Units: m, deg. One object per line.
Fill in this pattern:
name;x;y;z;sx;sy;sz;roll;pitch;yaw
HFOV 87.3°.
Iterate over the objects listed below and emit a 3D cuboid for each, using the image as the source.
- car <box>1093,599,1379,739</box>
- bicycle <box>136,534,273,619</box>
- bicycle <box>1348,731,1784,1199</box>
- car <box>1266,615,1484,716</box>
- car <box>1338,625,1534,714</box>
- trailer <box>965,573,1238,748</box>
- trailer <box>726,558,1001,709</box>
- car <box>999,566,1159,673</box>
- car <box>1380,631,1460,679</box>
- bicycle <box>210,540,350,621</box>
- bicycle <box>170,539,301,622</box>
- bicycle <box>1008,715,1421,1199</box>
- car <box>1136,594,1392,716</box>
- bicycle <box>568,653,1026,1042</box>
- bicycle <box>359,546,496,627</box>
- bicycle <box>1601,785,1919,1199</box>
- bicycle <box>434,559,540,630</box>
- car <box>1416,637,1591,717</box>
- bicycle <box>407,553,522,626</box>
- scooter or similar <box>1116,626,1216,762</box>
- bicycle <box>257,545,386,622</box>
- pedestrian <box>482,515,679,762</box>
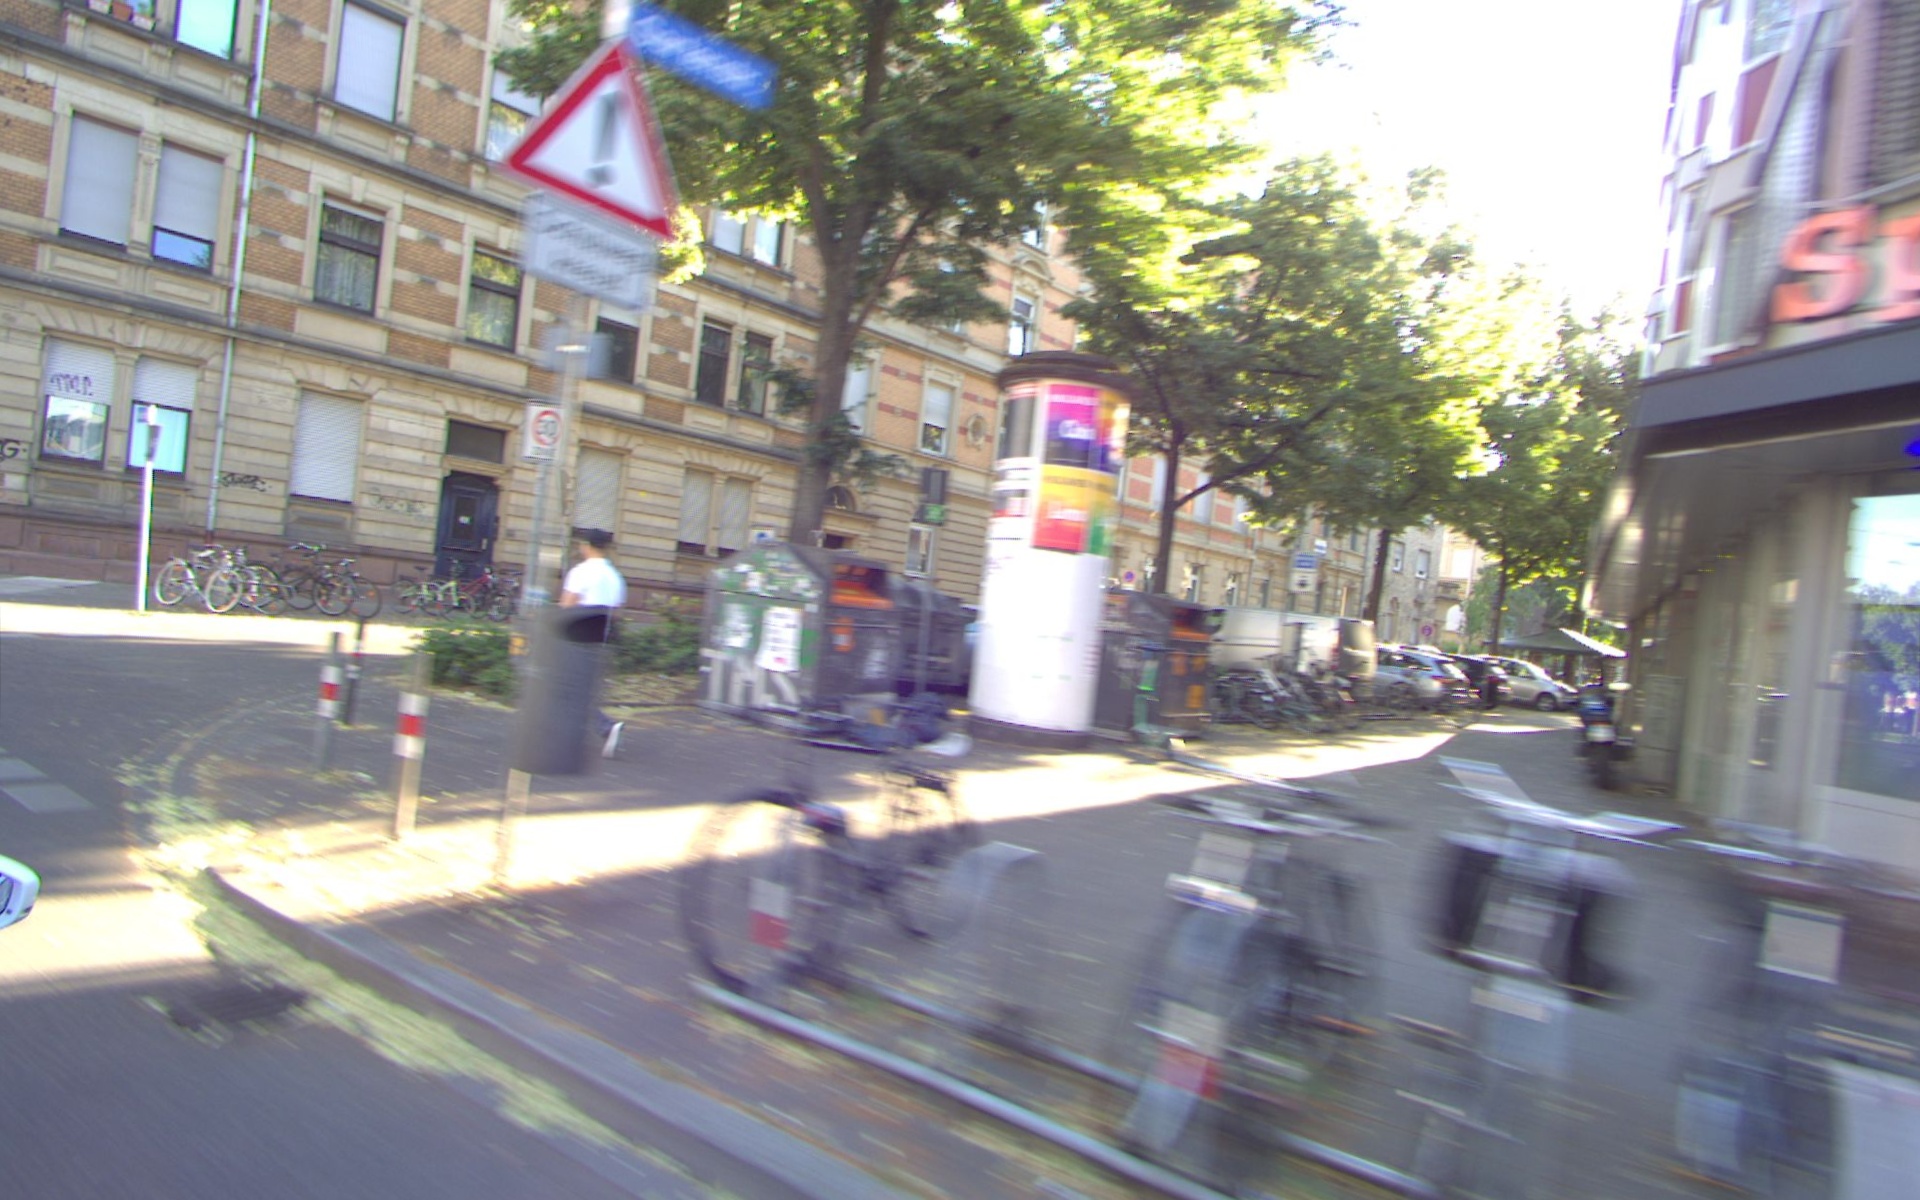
car;4.361;1.061;16.269;1.961;1.753;3.884;7;-1;-45
bicycle;-11.292;-0.351;15.035;1.871;1.037;0.452;7;0;13
bicycle;1.528;1.007;2.724;0.604;1.118;1.974;7;0;28
car;10.426;1.605;25.575;1.959;1.962;4.591;8;-2;-40
car;13.704;1.969;29.168;1.960;1.962;4.589;9;-2;-41
trailer;1.819;0.728;13.420;3.143;1.908;1.571;5;1;42
trailer;-1.547;0.452;15.059;1.961;1.754;3.883;6;1;-45
car;3.626;0.639;29.892;1.948;2.548;4.851;6;-3;44
car;21.187;2.560;46.274;4.192;1.686;1.803;9;-3;-44
bicycle;-10.858;-0.305;16.090;1.872;1.052;0.463;7;0;3
bicycle;-11.083;-0.300;15.386;1.871;1.037;0.418;7;0;13
bicycle;0.913;0.961;3.092;0.705;1.066;1.838;7;-1;28
car;6.504;1.128;22.071;1.891;2.074;4.993;8;-2;-40
bicycle;-0.492;0.808;3.937;0.698;1.066;1.838;7;-1;28
bicycle;-9.556;-0.237;18.075;2.067;1.197;0.616;7;0;5
bicycle;2.080;1.111;2.402;0.669;1.060;1.917;7;-1;28
bicycle;-9.155;-0.112;19.473;1.871;1.137;0.405;7;0;11
car;17.733;2.500;32.962;4.579;1.962;1.965;5;-2;42
bicycle;-9.389;-0.199;19.071;1.919;1.137;0.447;7;0;7
scooter or similar;2.238;0.999;11.085;0.368;1.360;1.277;7;-1;-17
bicycle;-10.486;-0.271;16.527;1.871;1.037;0.497;7;0;11
pedestrian;-2.913;0.284;7.728;1.016;1.686;0.784;9;1;32
